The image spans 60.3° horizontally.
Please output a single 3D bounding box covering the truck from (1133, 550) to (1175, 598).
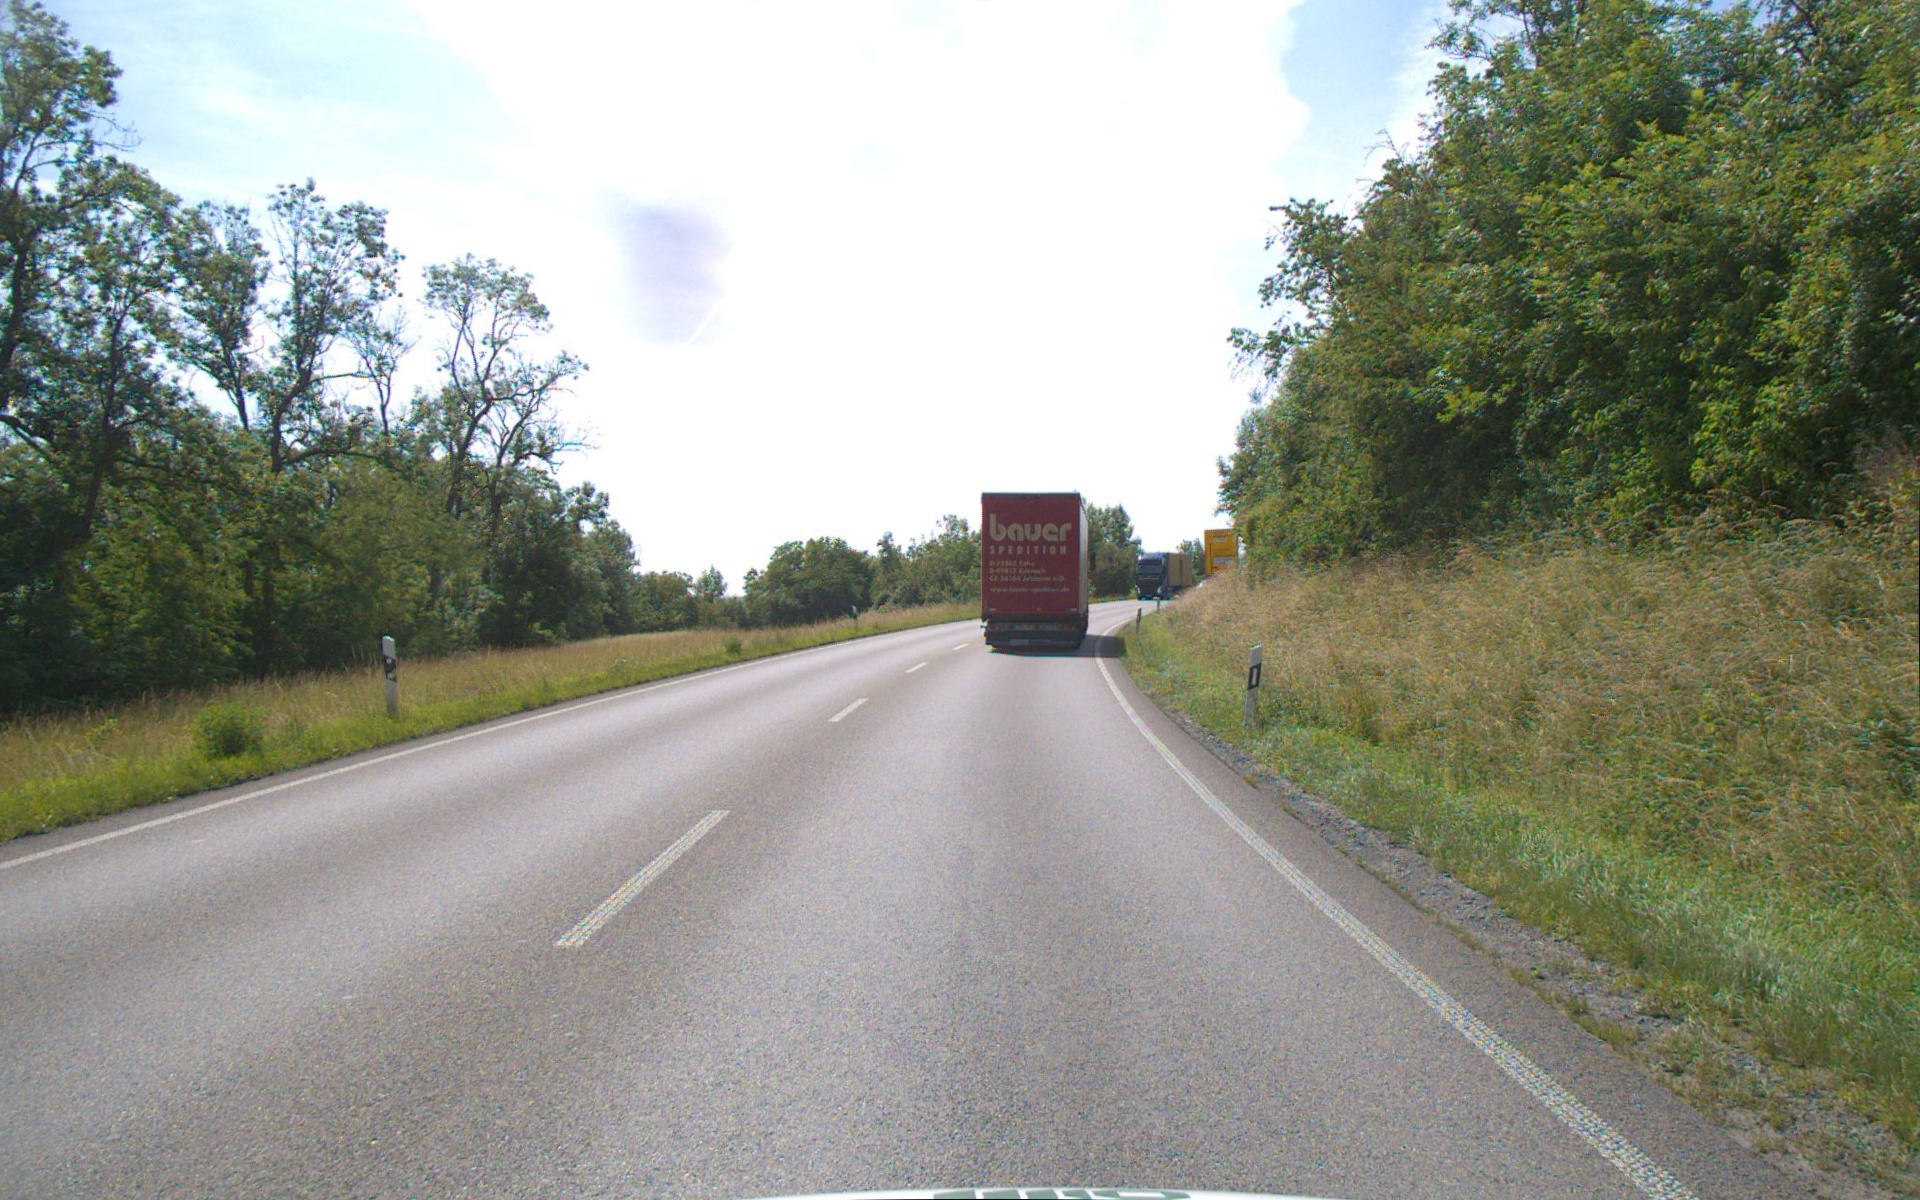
[{"bbox_3d":[17.067,-2.270,144.986,2.747,4.138,5.990,-1,1,15],"label":"truck"}]

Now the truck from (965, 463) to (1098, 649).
[{"bbox_3d":[2.296,-1.184,47.441,3.046,4.584,12.176,1,1,6],"label":"truck"}]

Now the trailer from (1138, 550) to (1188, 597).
[{"bbox_3d":[18.768,-2.318,152.097,2.933,4.114,12.927,-1,0,14],"label":"trailer"}]
